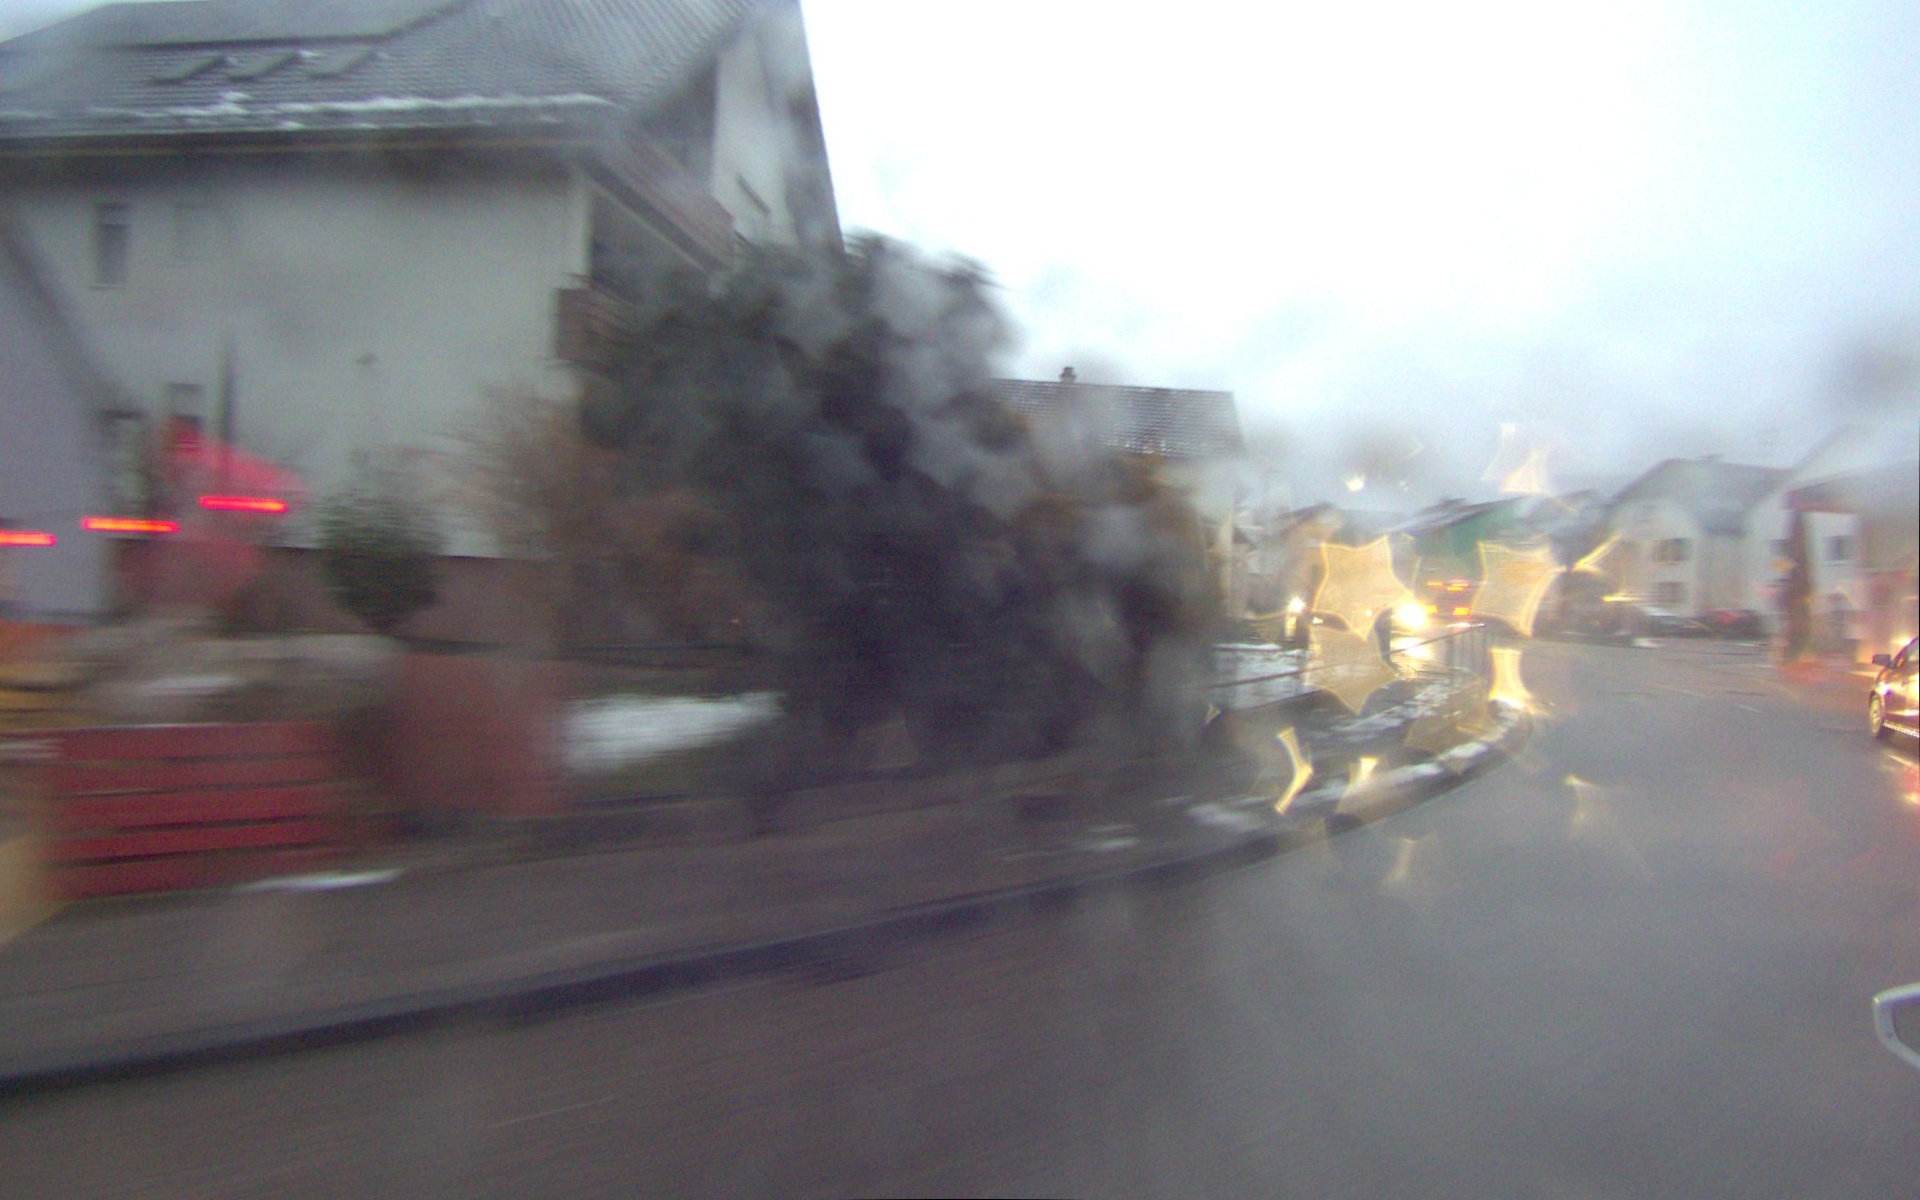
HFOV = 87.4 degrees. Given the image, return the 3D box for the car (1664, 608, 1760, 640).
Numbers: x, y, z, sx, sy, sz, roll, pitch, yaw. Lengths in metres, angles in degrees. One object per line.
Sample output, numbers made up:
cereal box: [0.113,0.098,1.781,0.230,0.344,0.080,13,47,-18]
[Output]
car: [40.820,1.270,54.621,1.783,1.587,3.991,0,0,-12]

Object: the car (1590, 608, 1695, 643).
car: [35.349,1.299,52.178,1.783,1.650,4.541,0,0,-12]

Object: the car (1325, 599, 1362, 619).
car: [35.238,0.792,92.410,1.960,1.666,4.001,3,2,4]

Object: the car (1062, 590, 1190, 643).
car: [5.305,0.500,32.562,3.919,1.482,1.821,3,1,5]

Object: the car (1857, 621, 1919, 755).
car: [11.978,1.037,11.731,1.524,1.485,3.690,2,1,31]

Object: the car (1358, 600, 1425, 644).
car: [18.775,0.919,43.870,1.845,1.634,4.604,1,2,13]
